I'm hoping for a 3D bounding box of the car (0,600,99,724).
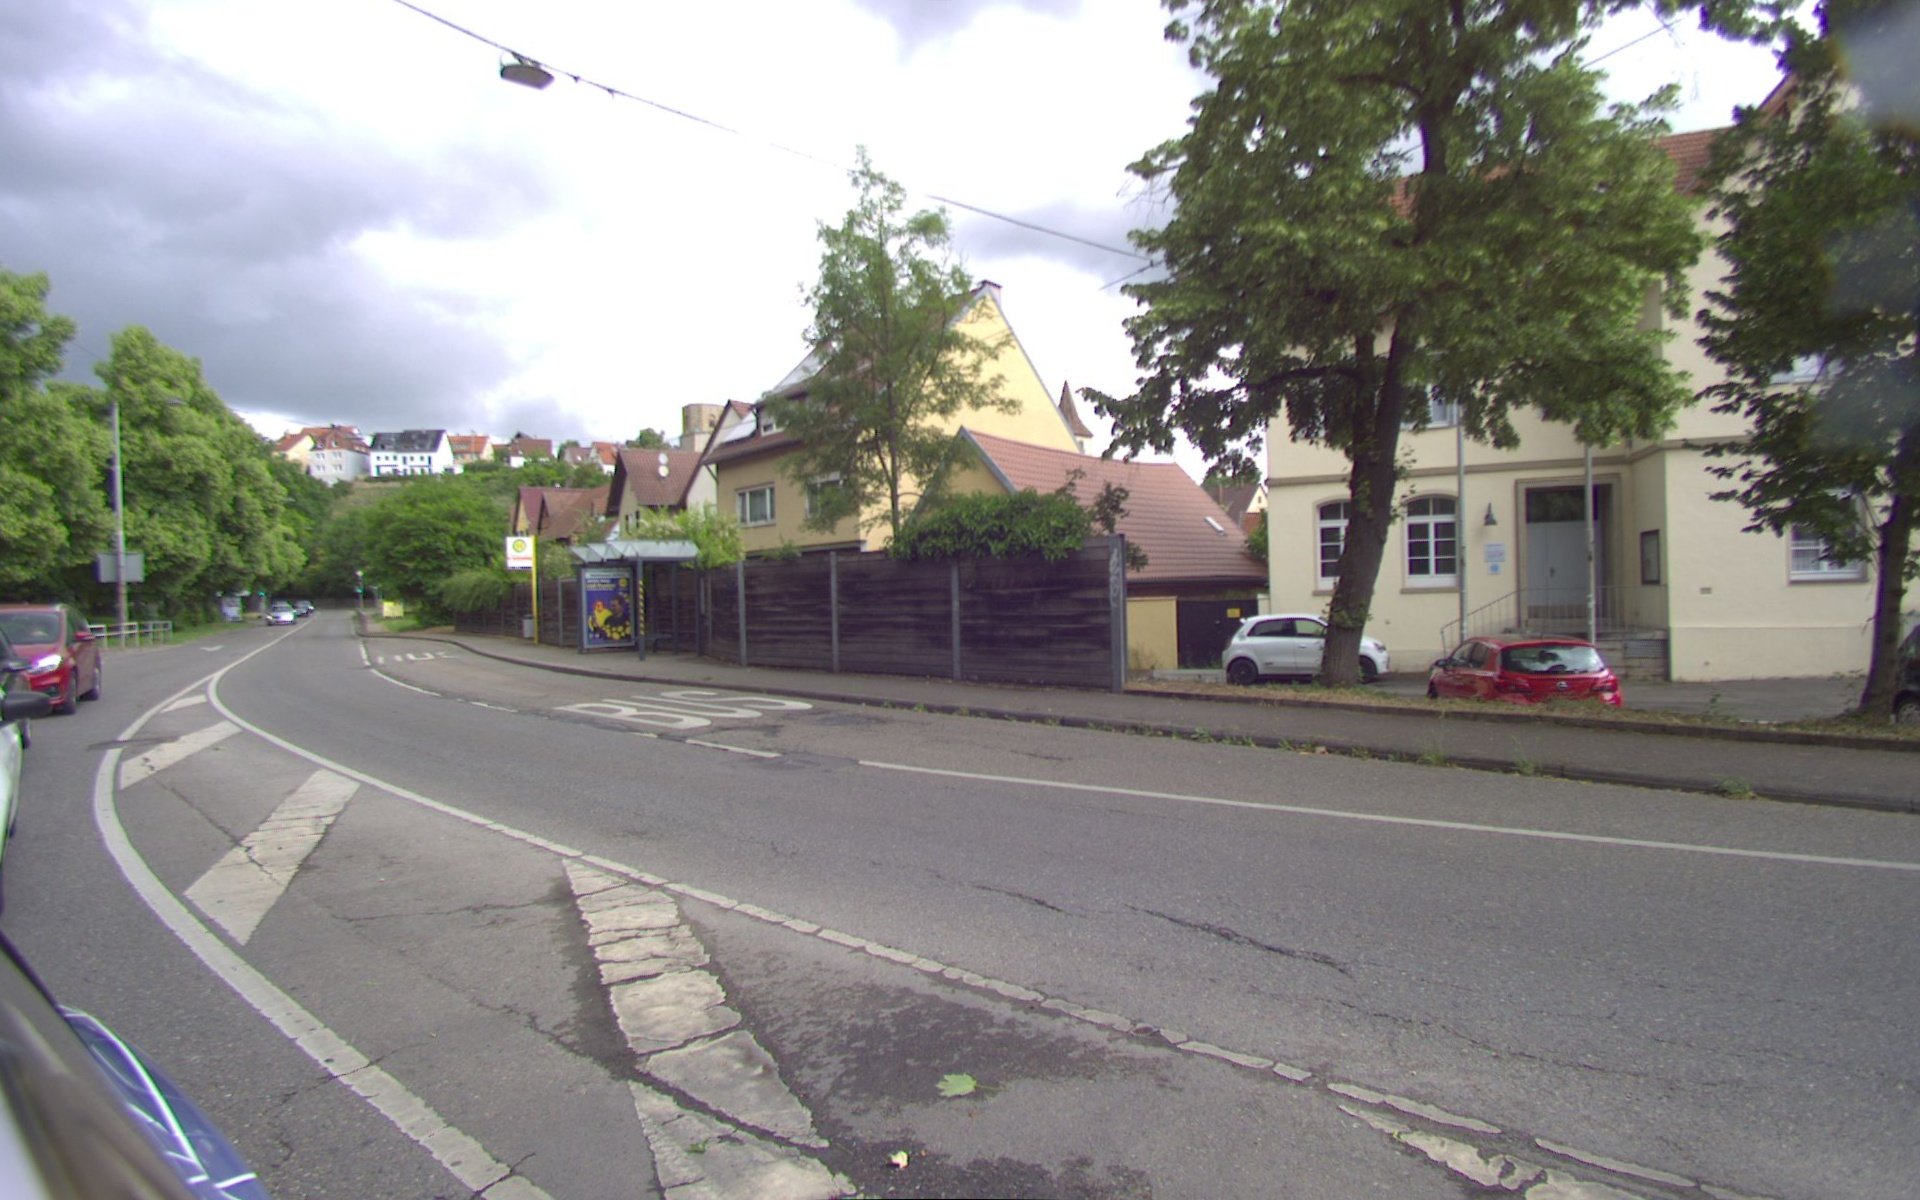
[{"bbox_3d":[-14.508,0.881,15.444,1.800,1.685,4.067,-1,0,-37],"label":"car"}]

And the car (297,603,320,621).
[{"bbox_3d":[-68.584,1.283,106.534,1.881,1.768,4.010,-2,1,-34],"label":"car"}]

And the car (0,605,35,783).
[{"bbox_3d":[-10.243,0.856,9.845,1.699,1.559,3.787,-1,0,-41],"label":"car"}]

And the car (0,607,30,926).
[{"bbox_3d":[-6.031,0.818,5.282,1.594,1.525,3.610,-1,0,-41],"label":"car"}]

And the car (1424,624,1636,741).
[{"bbox_3d":[8.127,1.107,14.774,1.590,1.389,3.544,-1,0,10],"label":"car"}]

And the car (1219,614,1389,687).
[{"bbox_3d":[7.748,1.111,22.930,3.487,1.528,1.581,-1,0,20],"label":"car"}]

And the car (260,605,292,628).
[{"bbox_3d":[-52.626,1.265,77.873,1.817,1.652,4.009,-1,0,-37],"label":"car"}]

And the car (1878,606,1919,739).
[{"bbox_3d":[12.700,0.892,11.591,1.586,1.644,3.093,-1,0,2],"label":"car"}]
